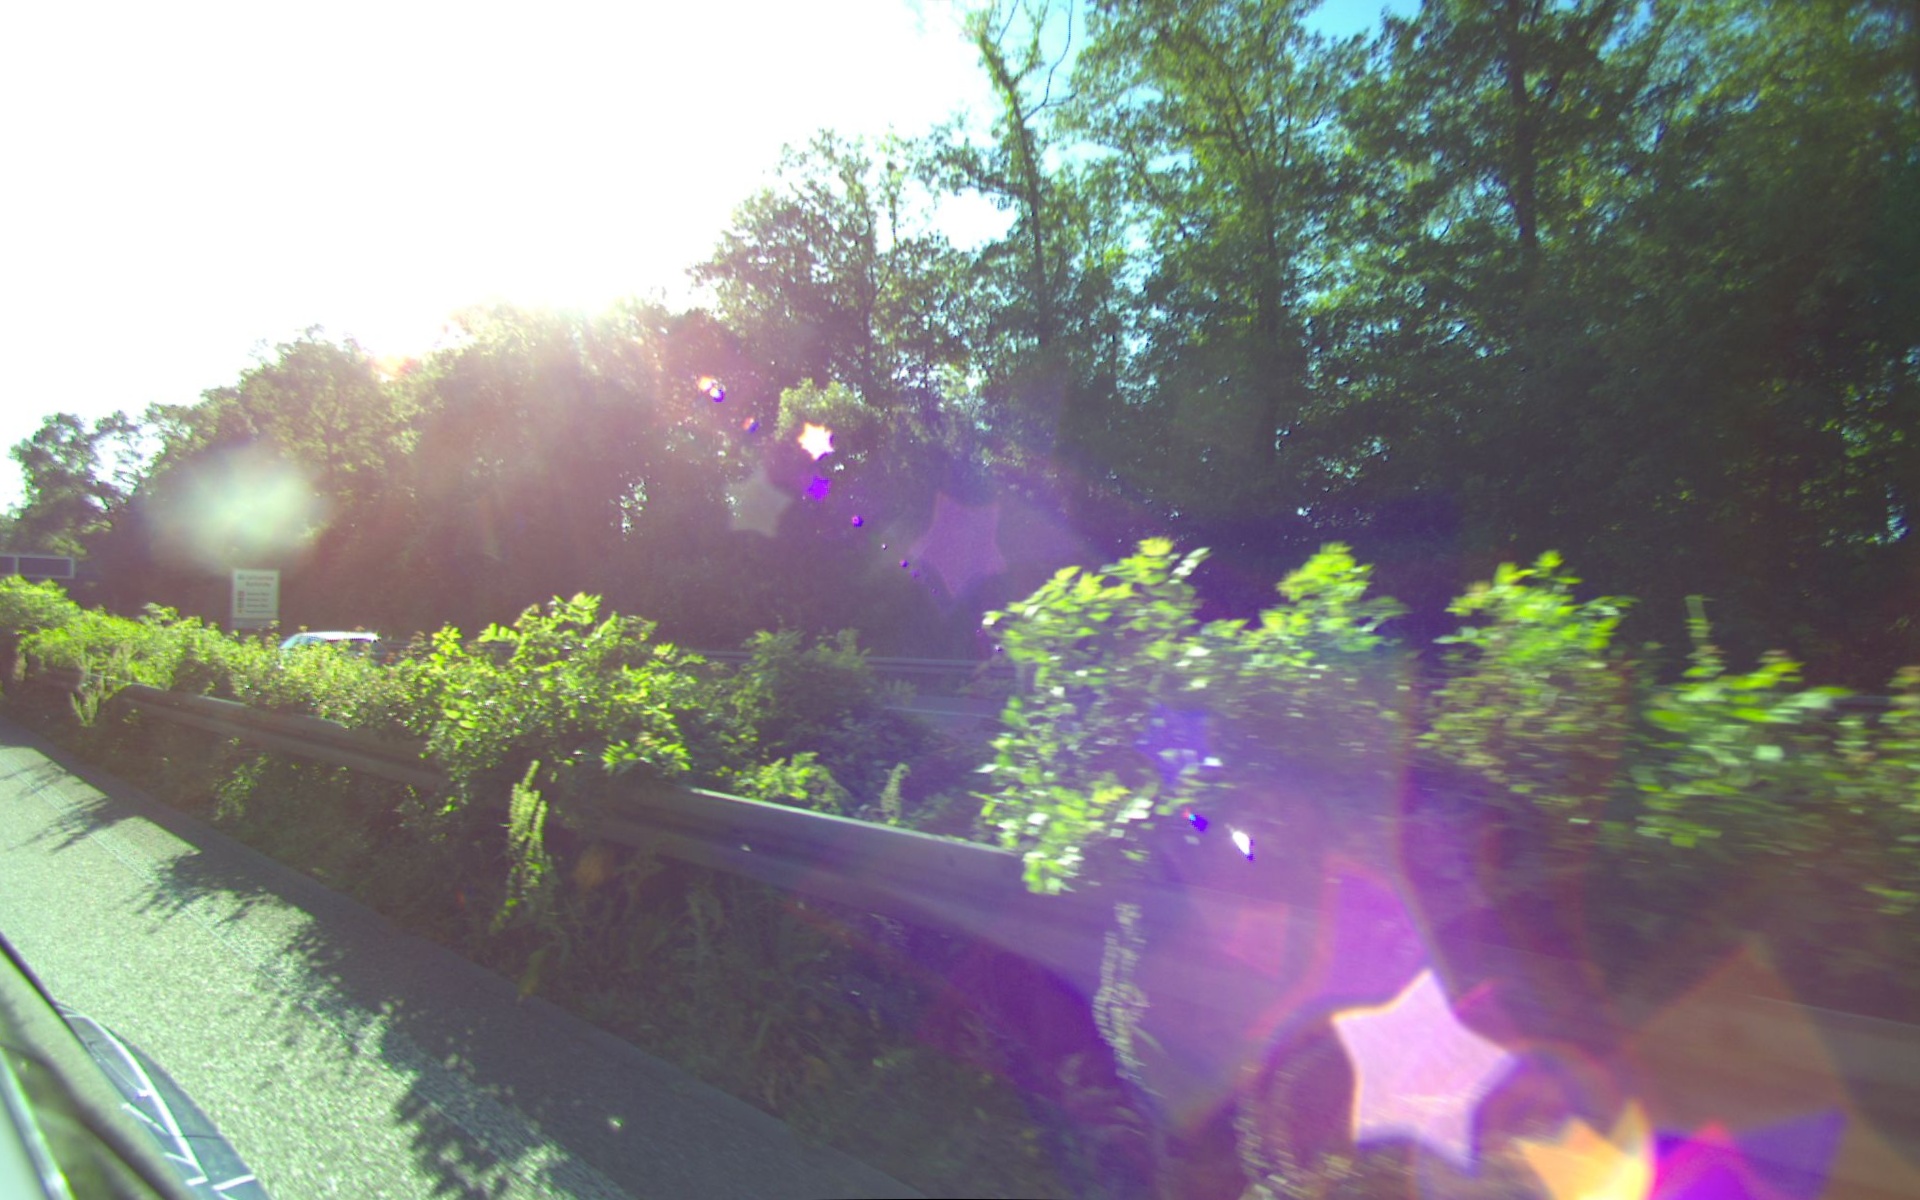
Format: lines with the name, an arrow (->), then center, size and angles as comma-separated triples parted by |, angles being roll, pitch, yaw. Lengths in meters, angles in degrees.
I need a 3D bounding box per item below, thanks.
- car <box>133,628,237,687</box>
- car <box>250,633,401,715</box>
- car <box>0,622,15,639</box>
car -> -24.398, 1.750, 31.800 | 4.581, 1.615, 1.714 | -1, 0, 41
car -> -14.701, 1.621, 23.344 | 4.583, 1.617, 1.695 | -1, 0, 41
car -> -91.902, 2.921, 96.838 | 3.791, 1.484, 1.745 | -1, 0, 41
